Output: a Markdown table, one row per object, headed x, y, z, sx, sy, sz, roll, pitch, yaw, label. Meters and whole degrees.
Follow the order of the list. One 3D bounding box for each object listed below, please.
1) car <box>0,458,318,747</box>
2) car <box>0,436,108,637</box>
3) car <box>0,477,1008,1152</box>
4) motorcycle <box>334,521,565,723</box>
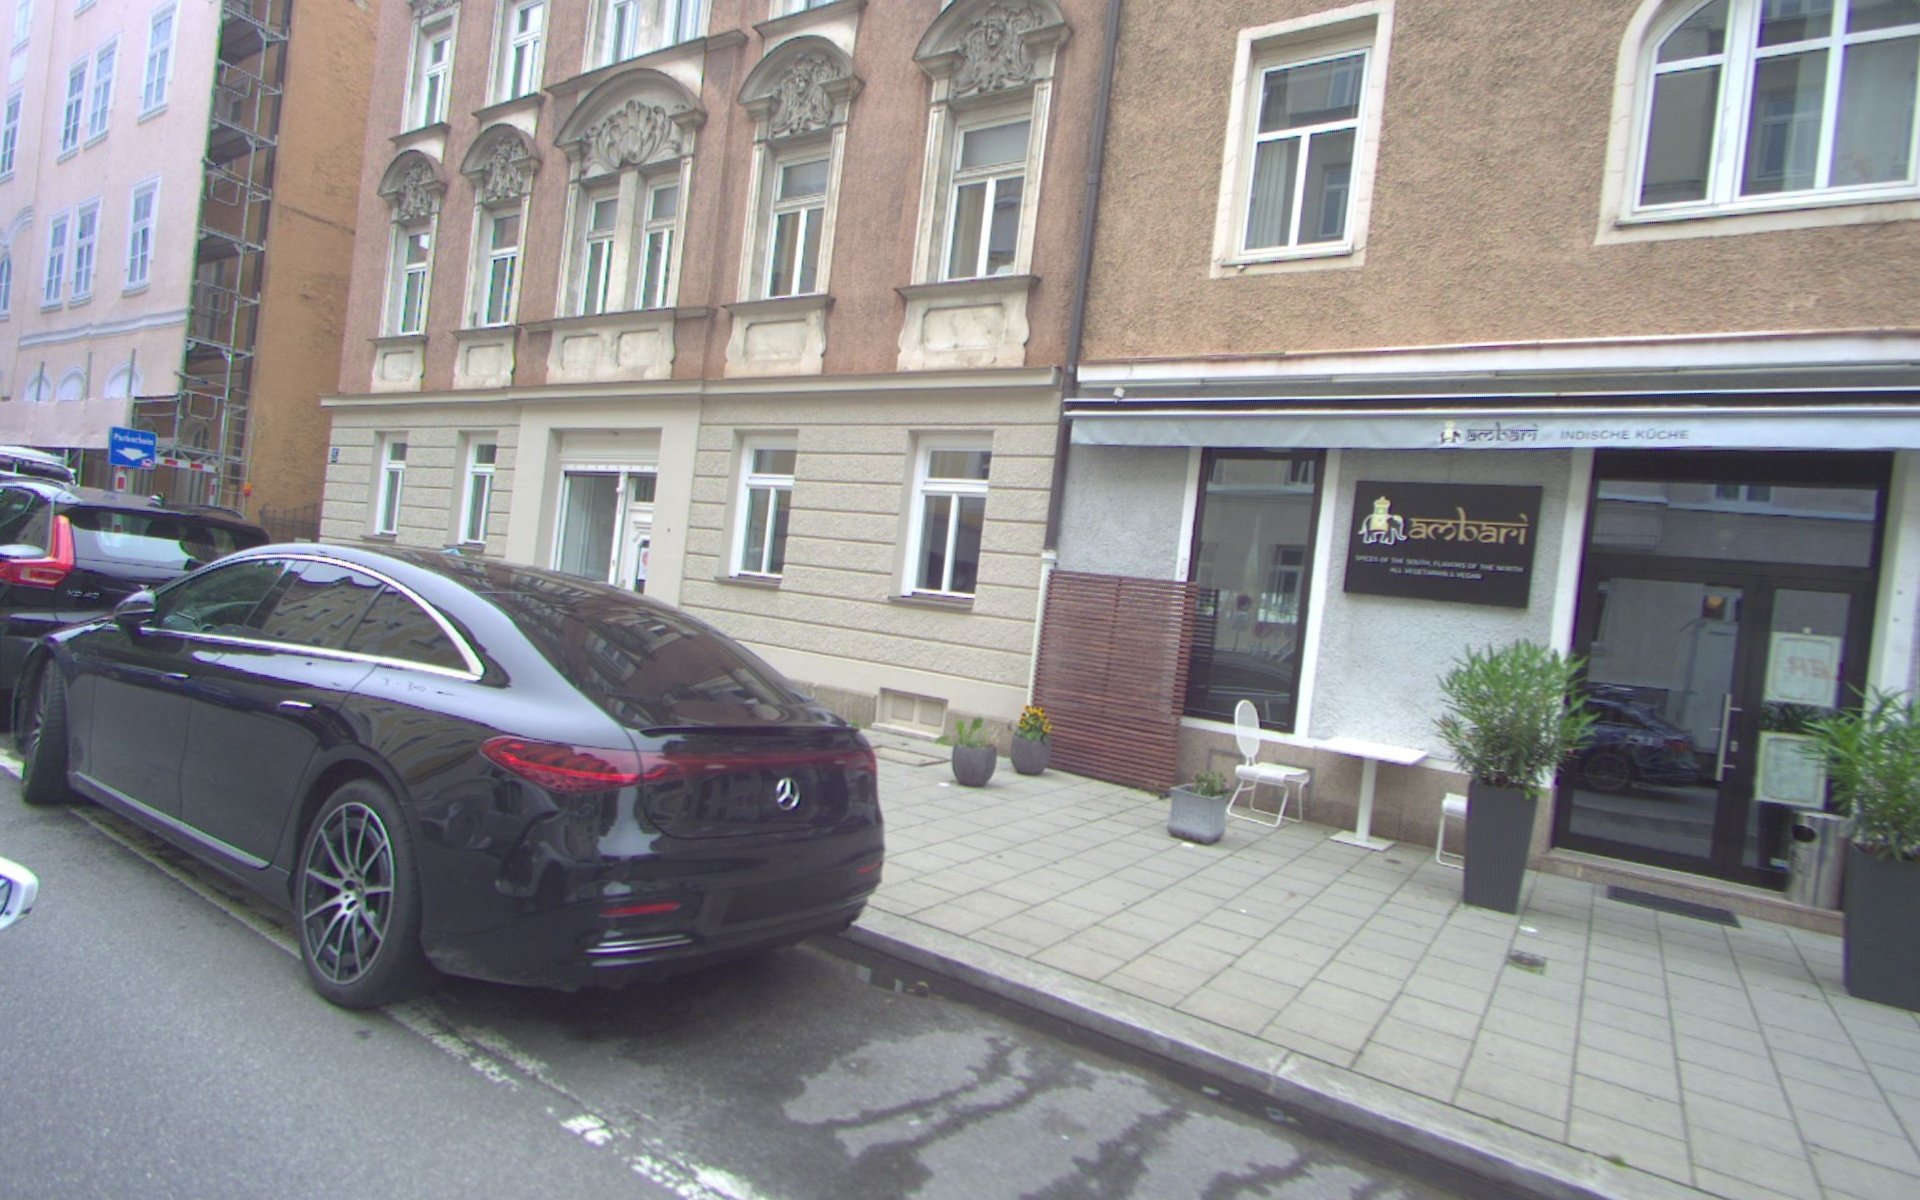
| x | y | z | sx | sy | sz | roll | pitch | yaw | label |
| --- | --- | --- | --- | --- | --- | --- | --- | --- | --- |
| -7.061 | -0.073 | 7.867 | 4.338 | 1.694 | 1.697 | 6 | -4 | 34 | car |
| -11.854 | -0.817 | 11.289 | 5.060 | 1.942 | 2.085 | 4 | -3 | 34 | car |
| -2.718 | 0.449 | 4.889 | 5.544 | 1.571 | 1.934 | 7 | -1 | 32 | car |
| -4.547 | 0.174 | 8.915 | 1.966 | 1.523 | 0.872 | 7 | 0 | 35 | motorcycle |
